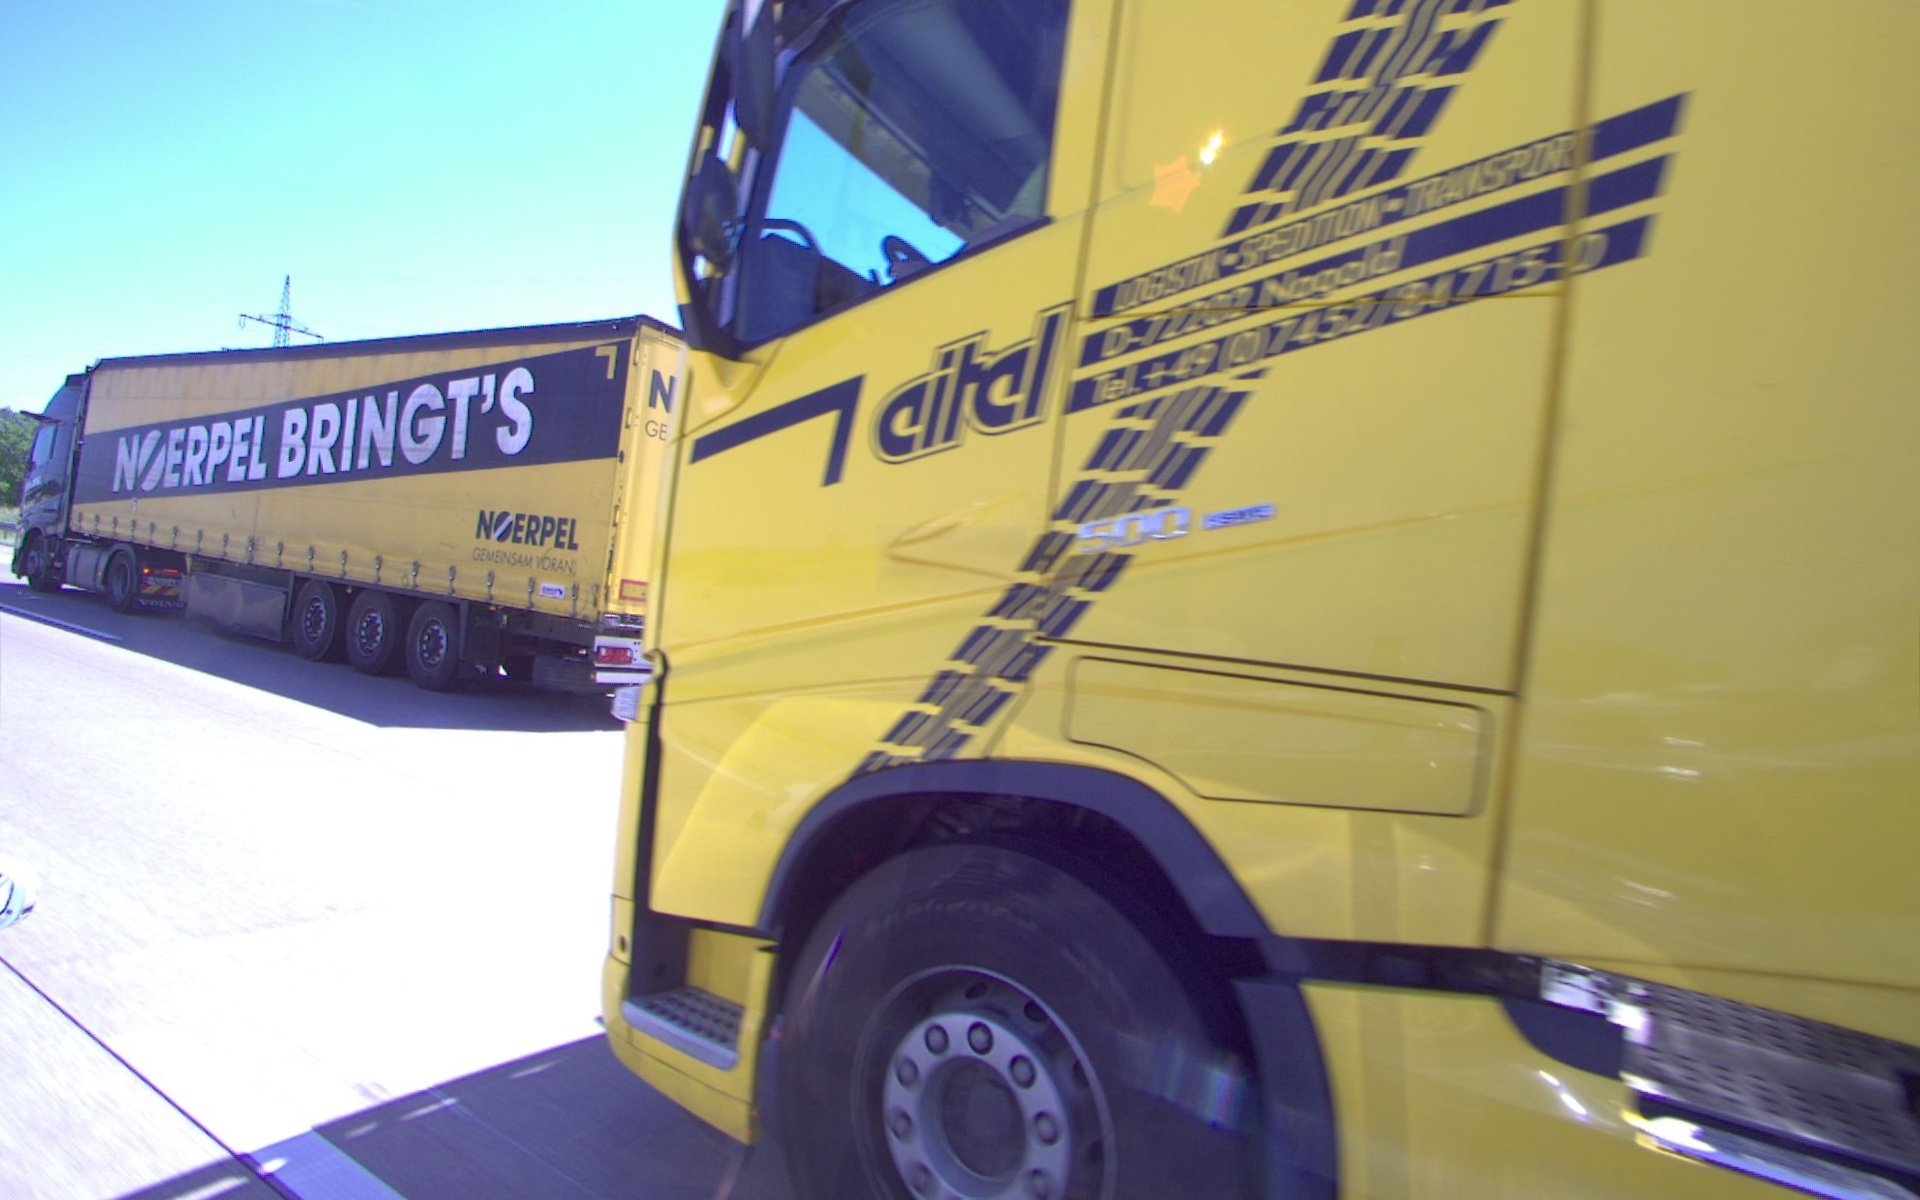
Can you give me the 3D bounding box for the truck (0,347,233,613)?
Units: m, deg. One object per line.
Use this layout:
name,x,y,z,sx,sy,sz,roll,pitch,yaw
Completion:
truck,-16.385,-2.224,18.917,5.611,4.242,1.997,6,-1,32

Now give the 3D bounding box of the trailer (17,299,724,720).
trailer,-9.660,-1.478,14.729,14.502,4.242,1.997,6,-1,32

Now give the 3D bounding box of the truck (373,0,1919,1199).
truck,1.410,-0.481,2.174,5.108,4.304,1.997,6,-1,31
